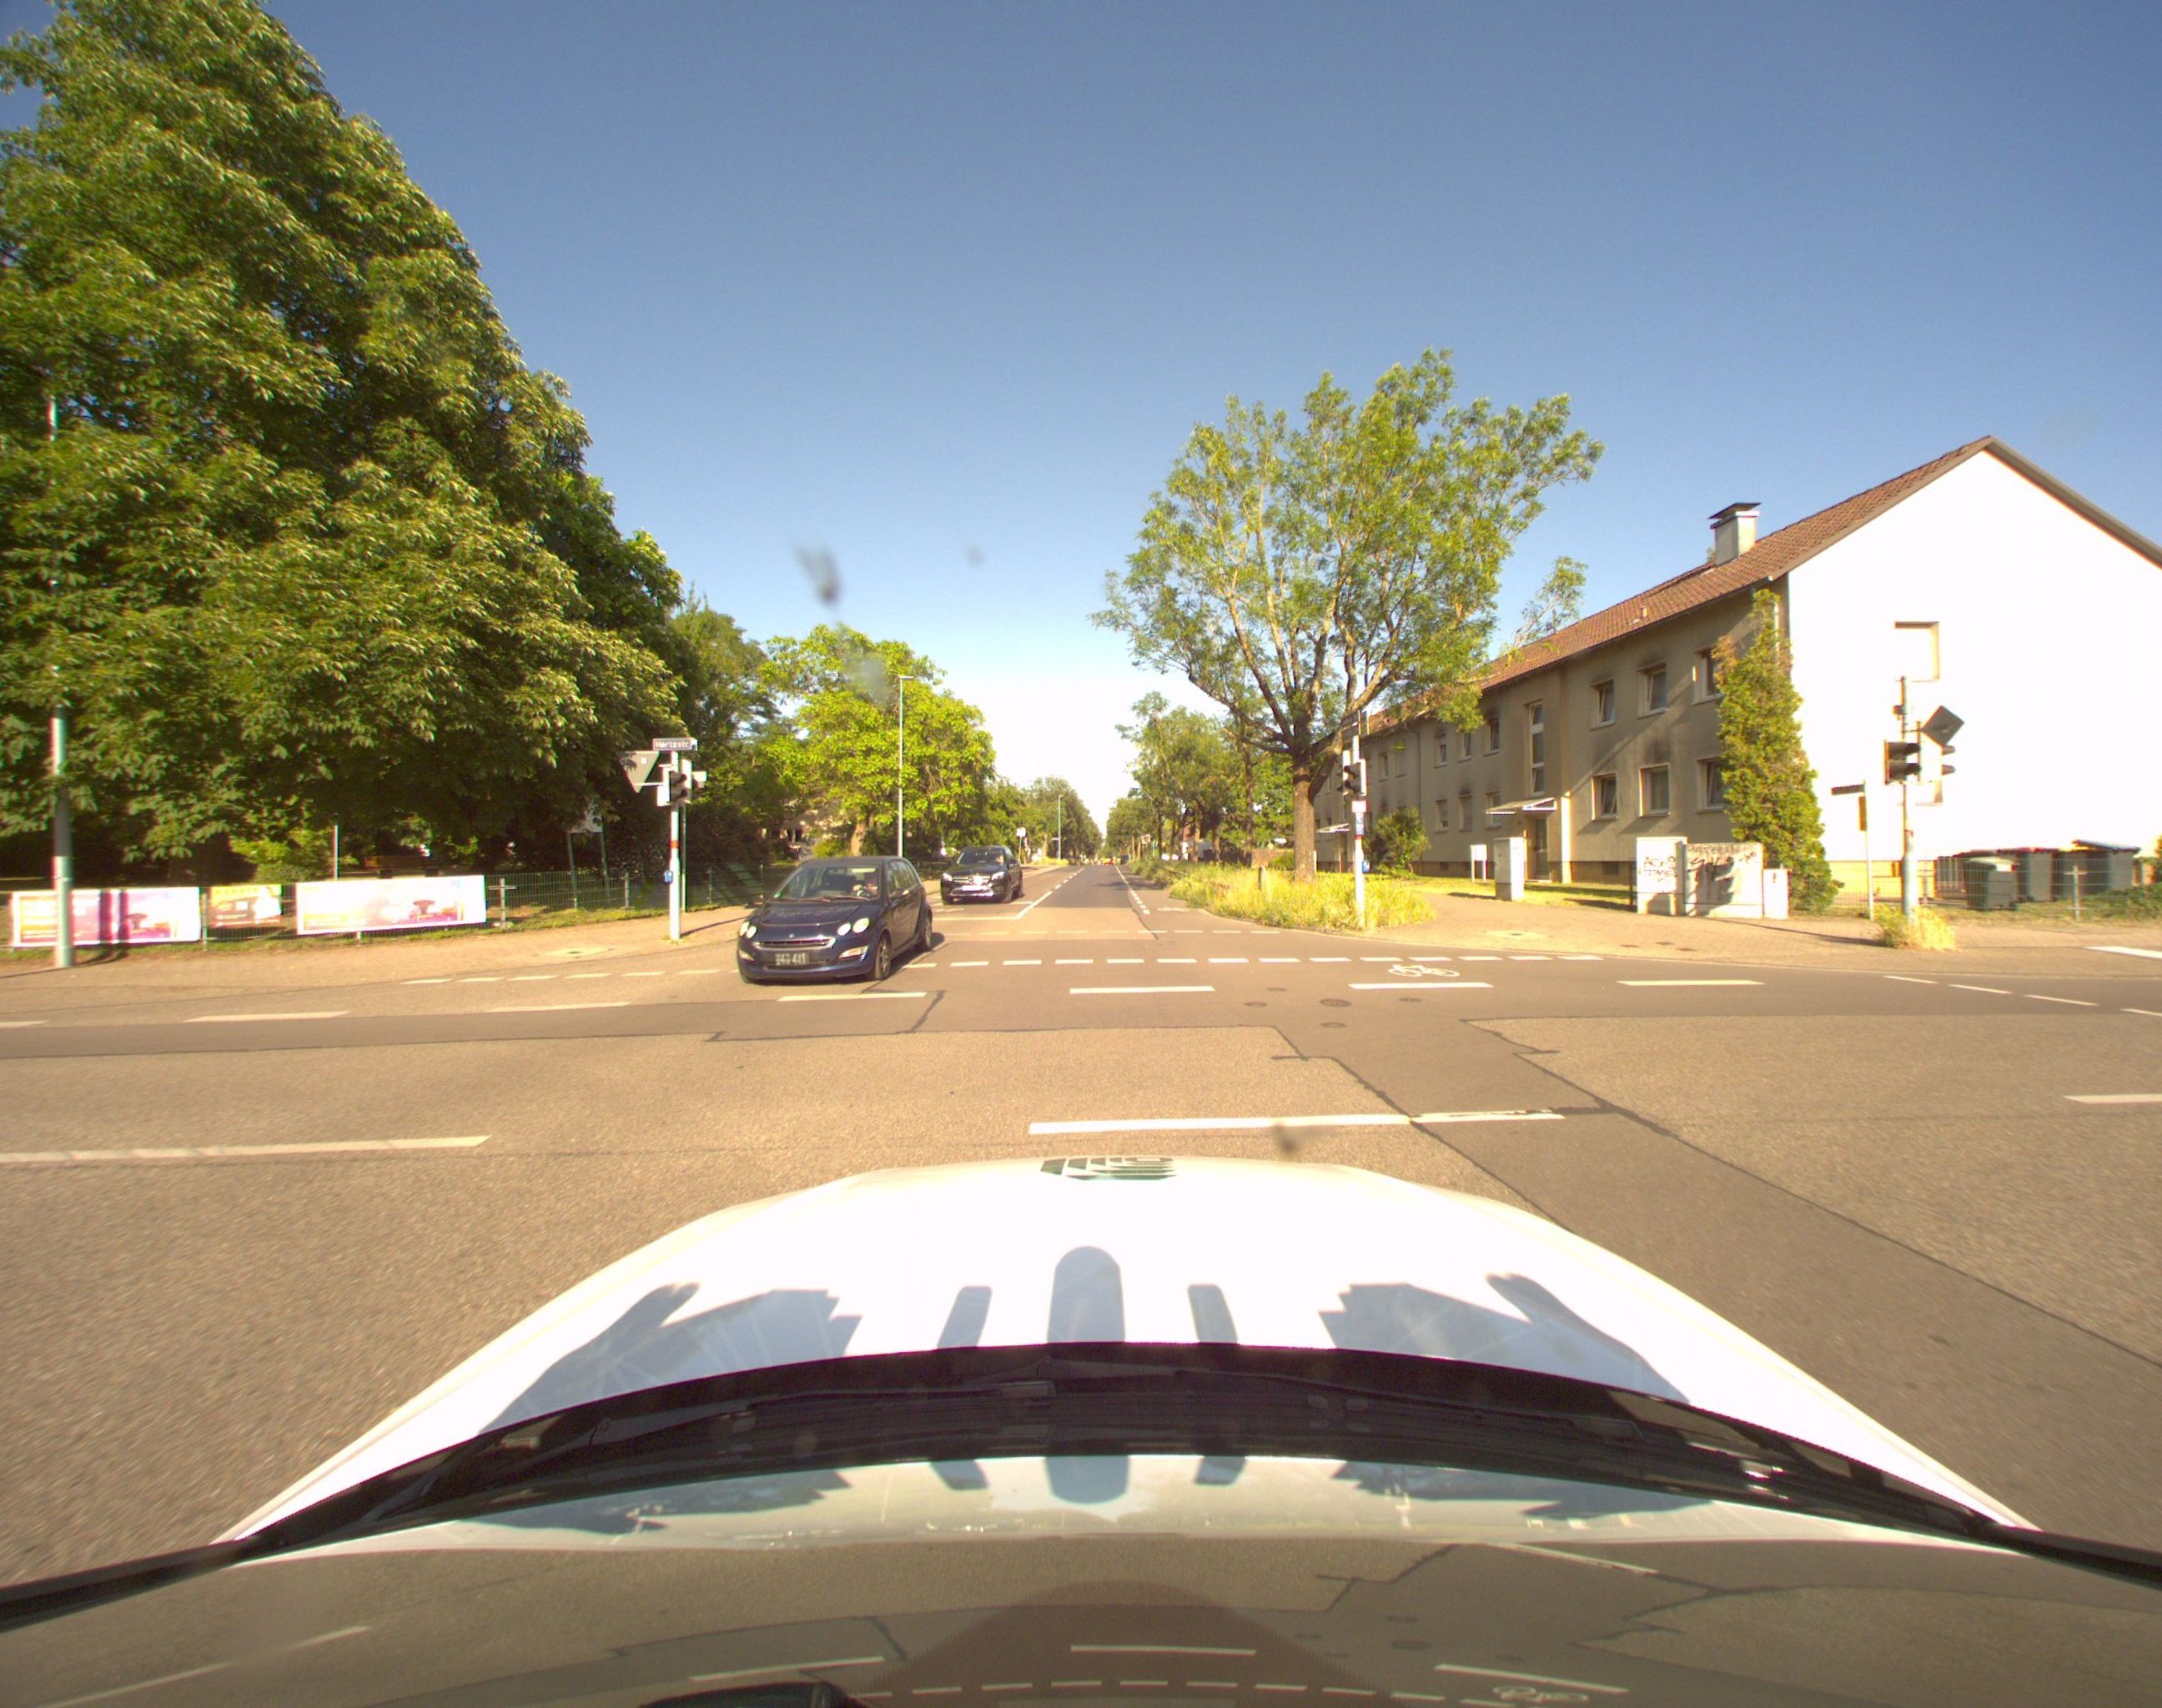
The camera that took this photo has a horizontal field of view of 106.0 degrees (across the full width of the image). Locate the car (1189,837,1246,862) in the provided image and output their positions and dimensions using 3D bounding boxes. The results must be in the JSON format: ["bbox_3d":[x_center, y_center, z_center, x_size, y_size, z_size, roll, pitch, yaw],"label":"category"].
[{"bbox_3d":[14.261,-0.467,85.502,5.580,2.539,2.264,-1,0,-2],"label":"car"}]

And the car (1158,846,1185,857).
[{"bbox_3d":[14.267,-0.356,128.466,3.974,1.488,1.902,-2,1,0],"label":"car"}]

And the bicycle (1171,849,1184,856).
[{"bbox_3d":[14.887,-0.181,125.281,1.951,0.998,0.576,-2,1,0],"label":"bicycle"}]

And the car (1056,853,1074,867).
[{"bbox_3d":[-2.080,0.836,108.292,1.945,1.727,4.878,1,-1,3],"label":"car"}]

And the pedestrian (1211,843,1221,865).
[{"bbox_3d":[10.668,-0.027,64.215,0.635,1.705,0.612,-3,1,0],"label":"pedestrian"}]

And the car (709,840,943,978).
[{"bbox_3d":[-3.113,0.619,10.828,1.800,1.455,3.851,-2,-1,1],"label":"car"}]

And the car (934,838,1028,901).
[{"bbox_3d":[-2.792,0.372,23.772,1.806,1.618,4.398,-2,1,5],"label":"car"}]

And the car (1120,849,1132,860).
[{"bbox_3d":[7.615,0.117,136.896,1.846,1.626,4.471,-2,-1,1],"label":"car"}]

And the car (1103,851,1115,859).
[{"bbox_3d":[5.108,0.201,147.481,1.882,1.479,3.886,2,0,-1],"label":"car"}]
